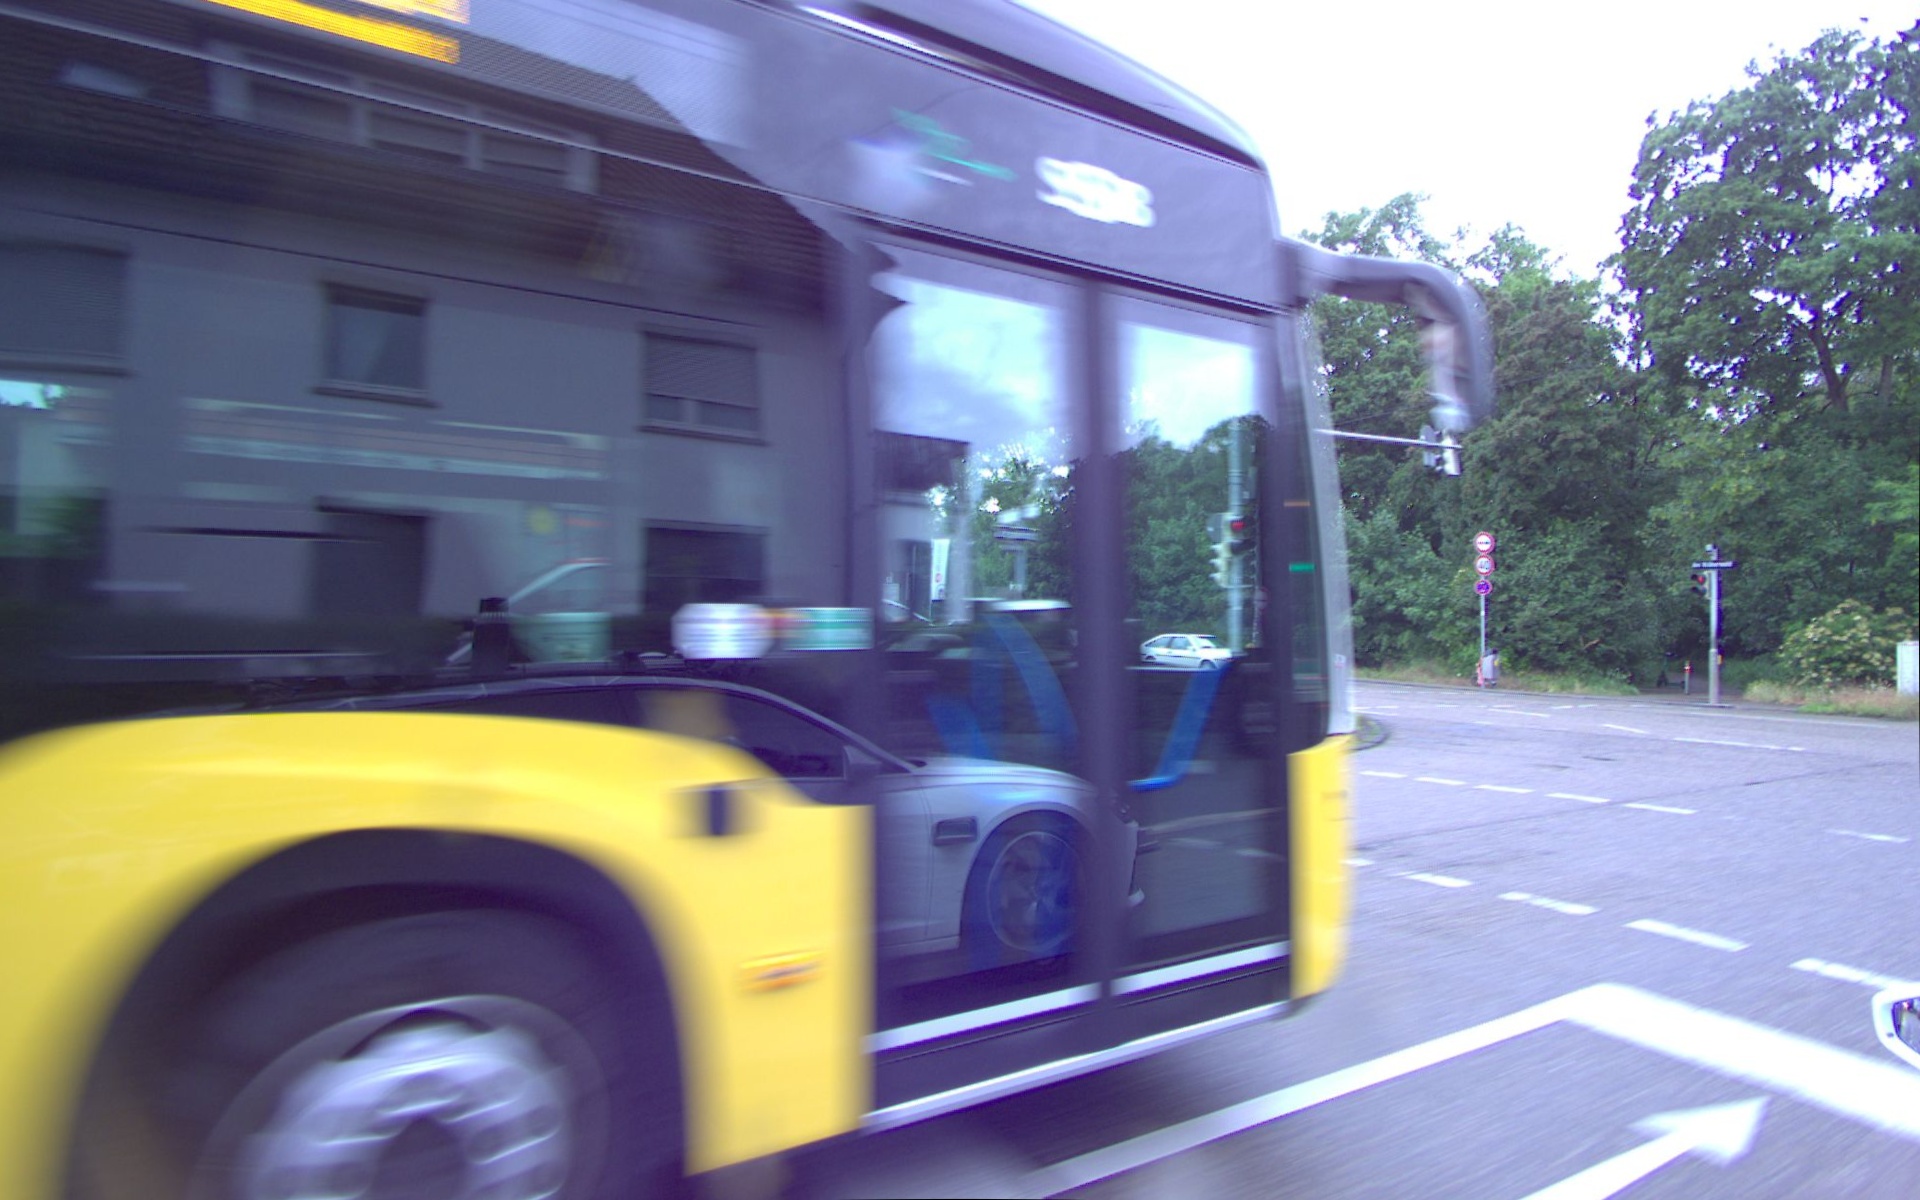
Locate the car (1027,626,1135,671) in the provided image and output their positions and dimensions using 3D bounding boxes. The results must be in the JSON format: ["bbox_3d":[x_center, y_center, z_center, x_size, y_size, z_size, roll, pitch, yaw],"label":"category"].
[{"bbox_3d":[4.145,1.648,34.971,1.803,1.372,3.971,2,0,-28],"label":"car"}]

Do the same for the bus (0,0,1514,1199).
[{"bbox_3d":[-2.998,-0.218,2.006,8.930,3.443,2.887,1,-2,-29],"label":"bus"}]

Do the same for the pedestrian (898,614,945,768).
[{"bbox_3d":[-0.426,0.995,11.158,0.406,1.657,0.454,1,1,-16],"label":"pedestrian"}]

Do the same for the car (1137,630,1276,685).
[{"bbox_3d":[7.145,1.636,29.491,1.803,1.372,3.971,2,0,-28],"label":"car"}]

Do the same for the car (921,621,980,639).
[{"bbox_3d":[-0.667,2.132,71.151,3.953,1.216,1.593,1,-1,-31],"label":"car"}]

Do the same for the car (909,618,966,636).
[{"bbox_3d":[-1.641,1.974,73.555,3.953,1.216,1.593,1,-1,-31],"label":"car"}]
